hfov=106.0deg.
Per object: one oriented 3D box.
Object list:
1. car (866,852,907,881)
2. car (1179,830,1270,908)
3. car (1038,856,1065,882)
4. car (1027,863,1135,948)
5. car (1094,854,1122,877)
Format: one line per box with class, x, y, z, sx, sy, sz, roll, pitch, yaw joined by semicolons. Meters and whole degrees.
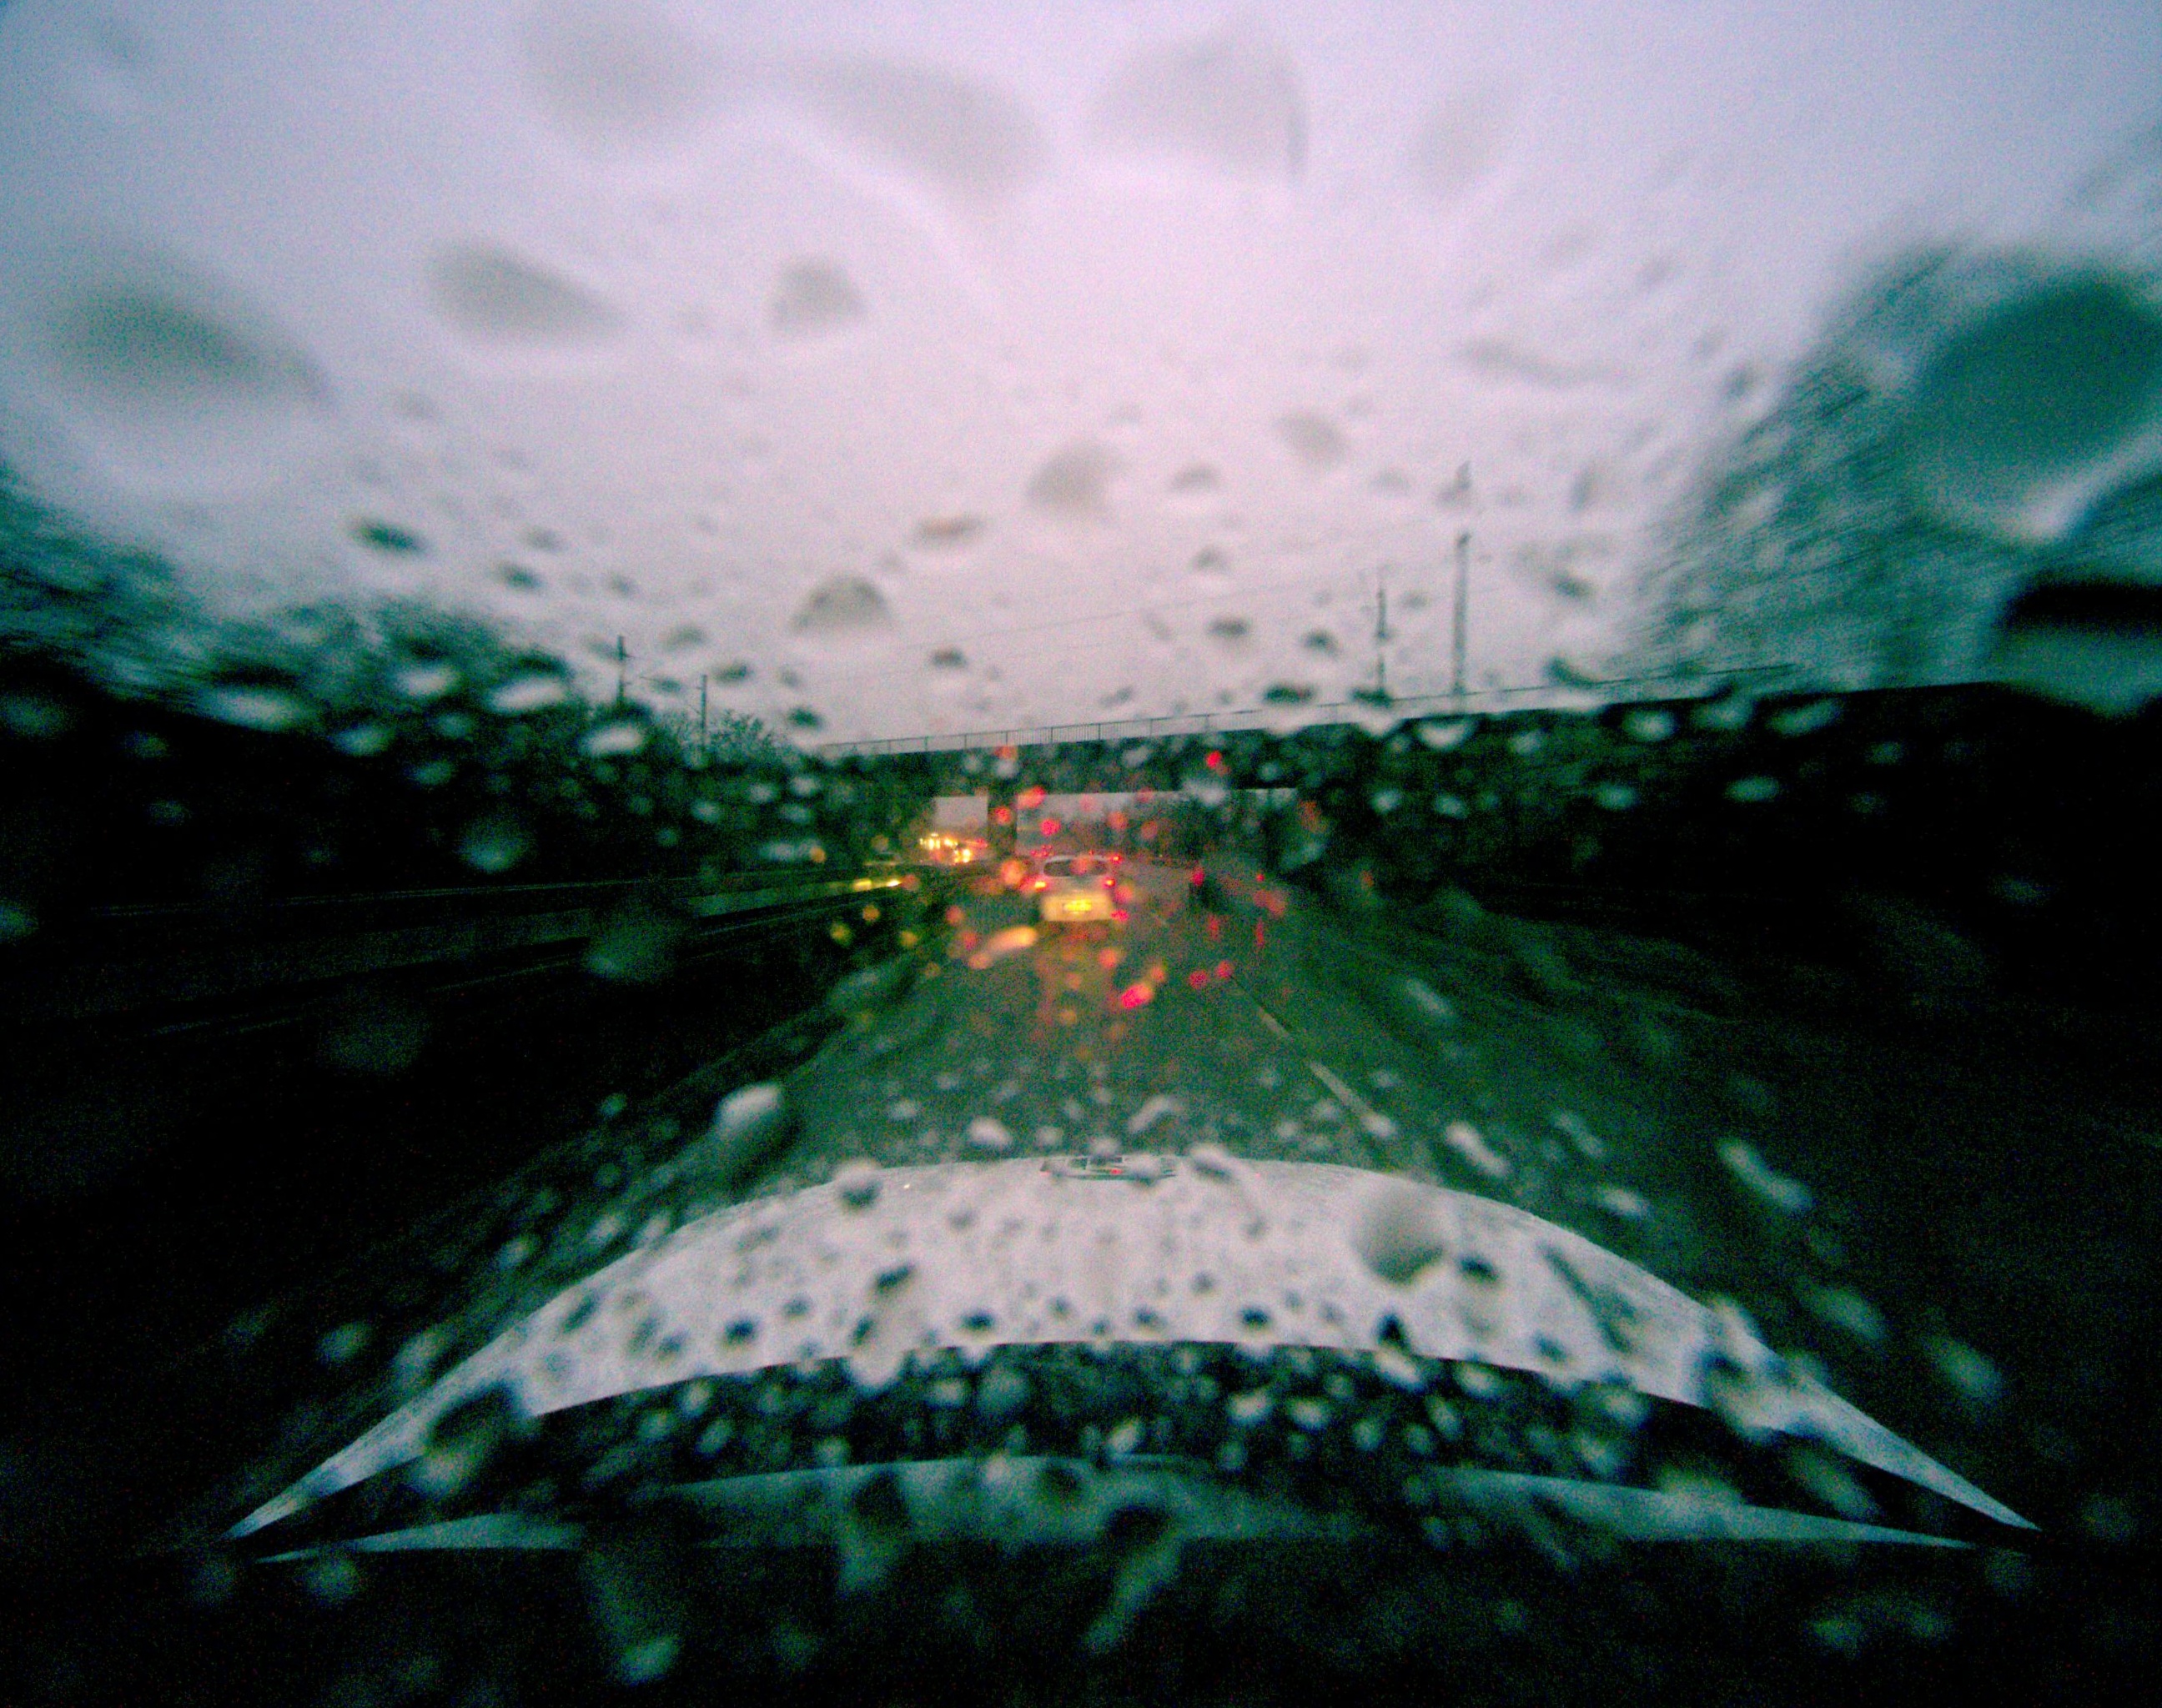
car;-11.982;0.739;50.416;1.577;1.670;4.294;-1;0;-1
car;3.971;0.436;23.120;1.926;2.019;3.772;1;-1;0
car;-2.281;1.170;63.830;1.988;2.014;3.997;1;-1;-2
car;0.066;0.997;17.238;2.017;1.575;4.001;0;-1;2
car;2.189;0.954;66.400;1.928;1.546;3.769;-5;-3;-2
